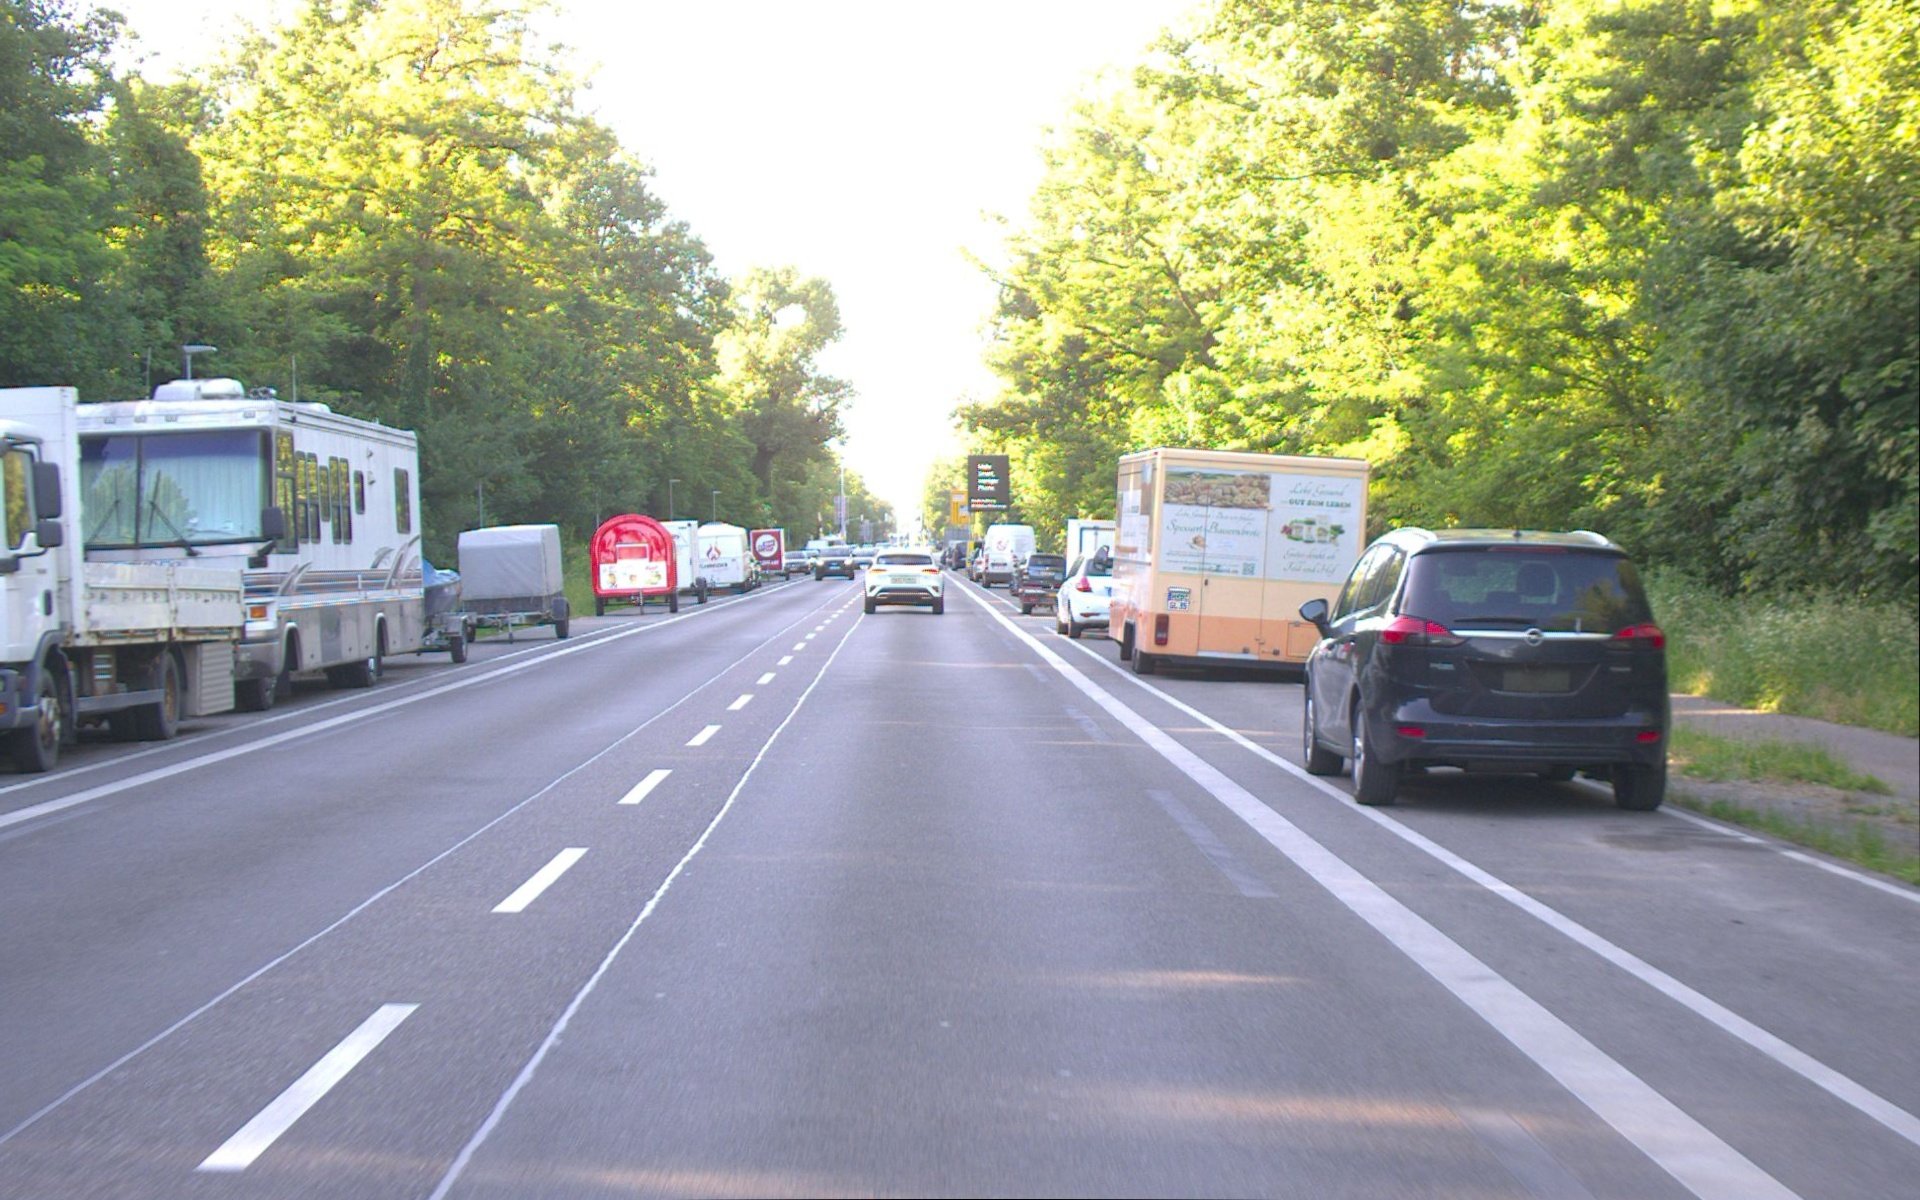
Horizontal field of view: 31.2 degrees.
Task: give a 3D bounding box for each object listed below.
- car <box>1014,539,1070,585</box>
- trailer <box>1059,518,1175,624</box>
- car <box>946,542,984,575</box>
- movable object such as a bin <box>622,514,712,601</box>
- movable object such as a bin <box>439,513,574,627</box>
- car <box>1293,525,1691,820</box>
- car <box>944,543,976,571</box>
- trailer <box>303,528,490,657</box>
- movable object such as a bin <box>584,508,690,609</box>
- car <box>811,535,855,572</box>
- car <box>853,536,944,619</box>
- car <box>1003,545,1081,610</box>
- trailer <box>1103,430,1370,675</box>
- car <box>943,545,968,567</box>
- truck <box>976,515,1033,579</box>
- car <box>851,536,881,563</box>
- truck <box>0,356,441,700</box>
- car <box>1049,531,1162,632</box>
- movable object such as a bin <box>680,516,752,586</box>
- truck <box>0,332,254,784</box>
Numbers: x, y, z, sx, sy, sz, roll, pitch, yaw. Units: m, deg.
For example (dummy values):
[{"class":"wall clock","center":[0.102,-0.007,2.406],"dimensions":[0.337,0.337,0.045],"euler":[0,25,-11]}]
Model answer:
[{"class":"car","center":[2.628,-1.236,110.352],"dimensions":[1.656,1.473,3.754],"euler":[0,1,-1]},{"class":"trailer","center":[2.987,-0.580,66.036],"dimensions":[1.993,1.963,4.000],"euler":[0,1,-1]},{"class":"car","center":[0.226,-1.881,154.761],"dimensions":[1.656,1.473,3.754],"euler":[0,1,-1]},{"class":"movable object such as a bin","center":[-8.580,-1.265,100.931],"dimensions":[2.322,2.493,4.000],"euler":[0,1,-1]},{"class":"movable object such as a bin","center":[-8.171,-0.565,62.278],"dimensions":[1.953,2.007,4.000],"euler":[0,1,-1]},{"class":"car","center":[3.209,0.377,21.500],"dimensions":[1.841,1.656,4.000],"euler":[1,1,0]},{"class":"car","center":[-0.015,-2.334,187.054],"dimensions":[1.656,1.473,3.754],"euler":[0,1,-1]},{"class":"trailer","center":[-7.950,-0.142,48.862],"dimensions":[1.993,1.744,4.328],"euler":[0,1,-1]},{"class":"movable object such as a bin","center":[-8.104,-1.061,86.567],"dimensions":[2.322,2.493,4.000],"euler":[0,1,-1]},{"class":"car","center":[-6.046,-2.223,163.969],"dimensions":[1.993,1.672,4.000],"euler":[-1,1,-1]},{"class":"car","center":[-1.396,-0.545,79.520],"dimensions":[2.028,1.834,4.029],"euler":[0,1,0]},{"class":"car","center":[1.874,-0.538,79.350],"dimensions":[1.656,1.473,3.754],"euler":[0,1,-1]},{"class":"trailer","center":[3.359,-0.611,43.349],"dimensions":[2.757,2.860,6.589],"euler":[0,1,-1]},{"class":"car","center":[-0.299,-2.953,231.518],"dimensions":[1.656,1.473,3.754],"euler":[0,1,-1]},{"class":"truck","center":[1.720,-2.083,134.083],"dimensions":[2.096,2.444,5.680],"euler":[0,1,-1]},{"class":"car","center":[-5.969,-3.222,218.973],"dimensions":[1.779,1.659,4.430],"euler":[-1,1,-1]},{"class":"truck","center":[-7.998,-0.790,38.808],"dimensions":[2.707,3.336,10.924],"euler":[0,1,0]},{"class":"car","center":[2.482,-0.343,59.354],"dimensions":[1.732,1.678,4.000],"euler":[0,1,-1]},{"class":"movable object such as a bin","center":[-8.747,-1.762,123.460],"dimensions":[2.322,2.493,4.000],"euler":[0,1,-1]},{"class":"truck","center":[-7.784,-0.355,27.464],"dimensions":[2.707,3.083,7.989],"euler":[0,1,0]}]
